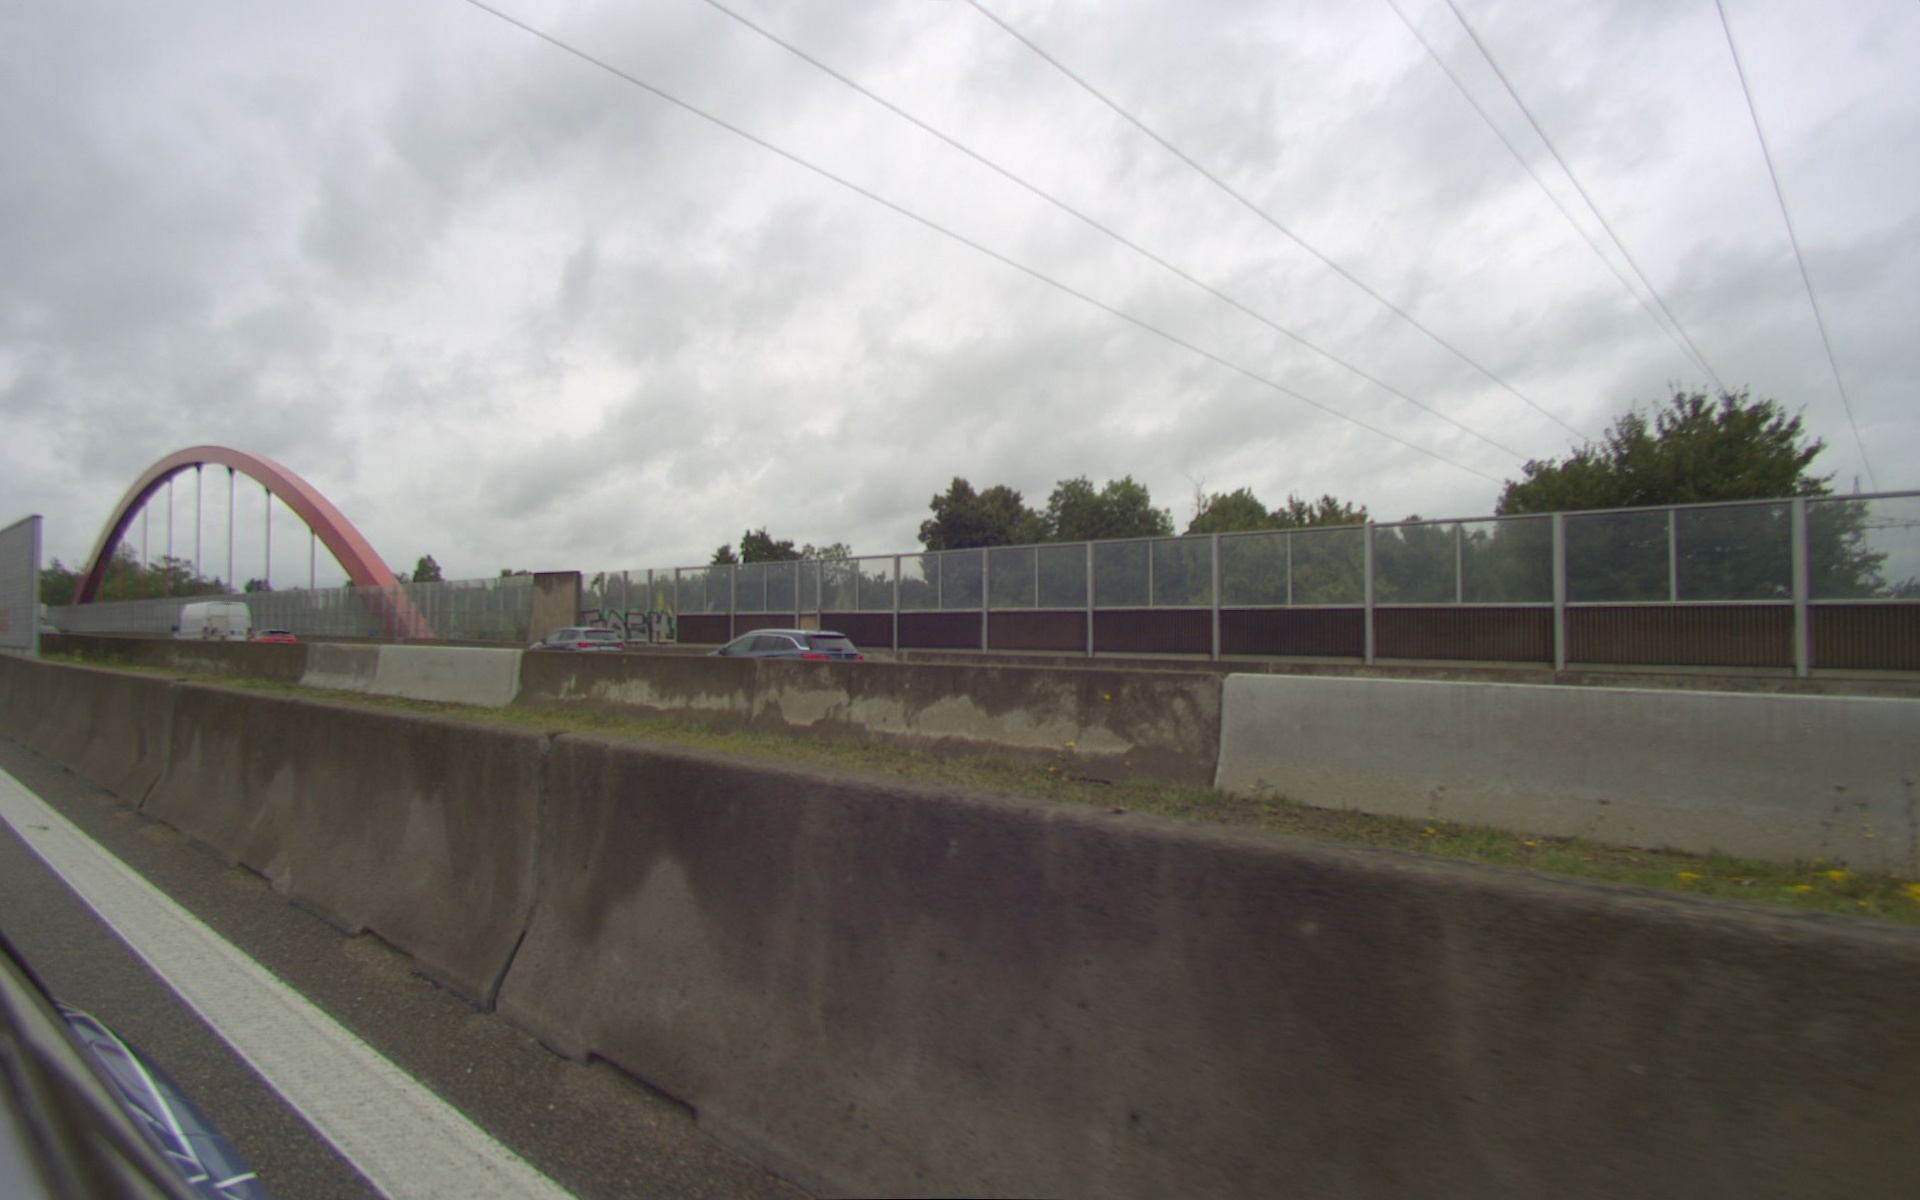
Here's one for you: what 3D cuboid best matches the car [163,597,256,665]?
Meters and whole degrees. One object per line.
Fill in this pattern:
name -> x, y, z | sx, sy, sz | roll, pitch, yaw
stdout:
car -> -38.975, 1.505, 52.486 | 7.070, 3.008, 2.197 | 4, 2, 39

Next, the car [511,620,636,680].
car -> -13.661, 1.698, 35.673 | 4.635, 1.637, 2.099 | 4, 2, 39

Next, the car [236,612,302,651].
car -> -37.877, 1.690, 55.431 | 3.997, 2.029, 1.973 | -1, 0, 40

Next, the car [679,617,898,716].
car -> -3.813, 1.339, 22.148 | 4.635, 1.637, 2.197 | 4, 2, 39
